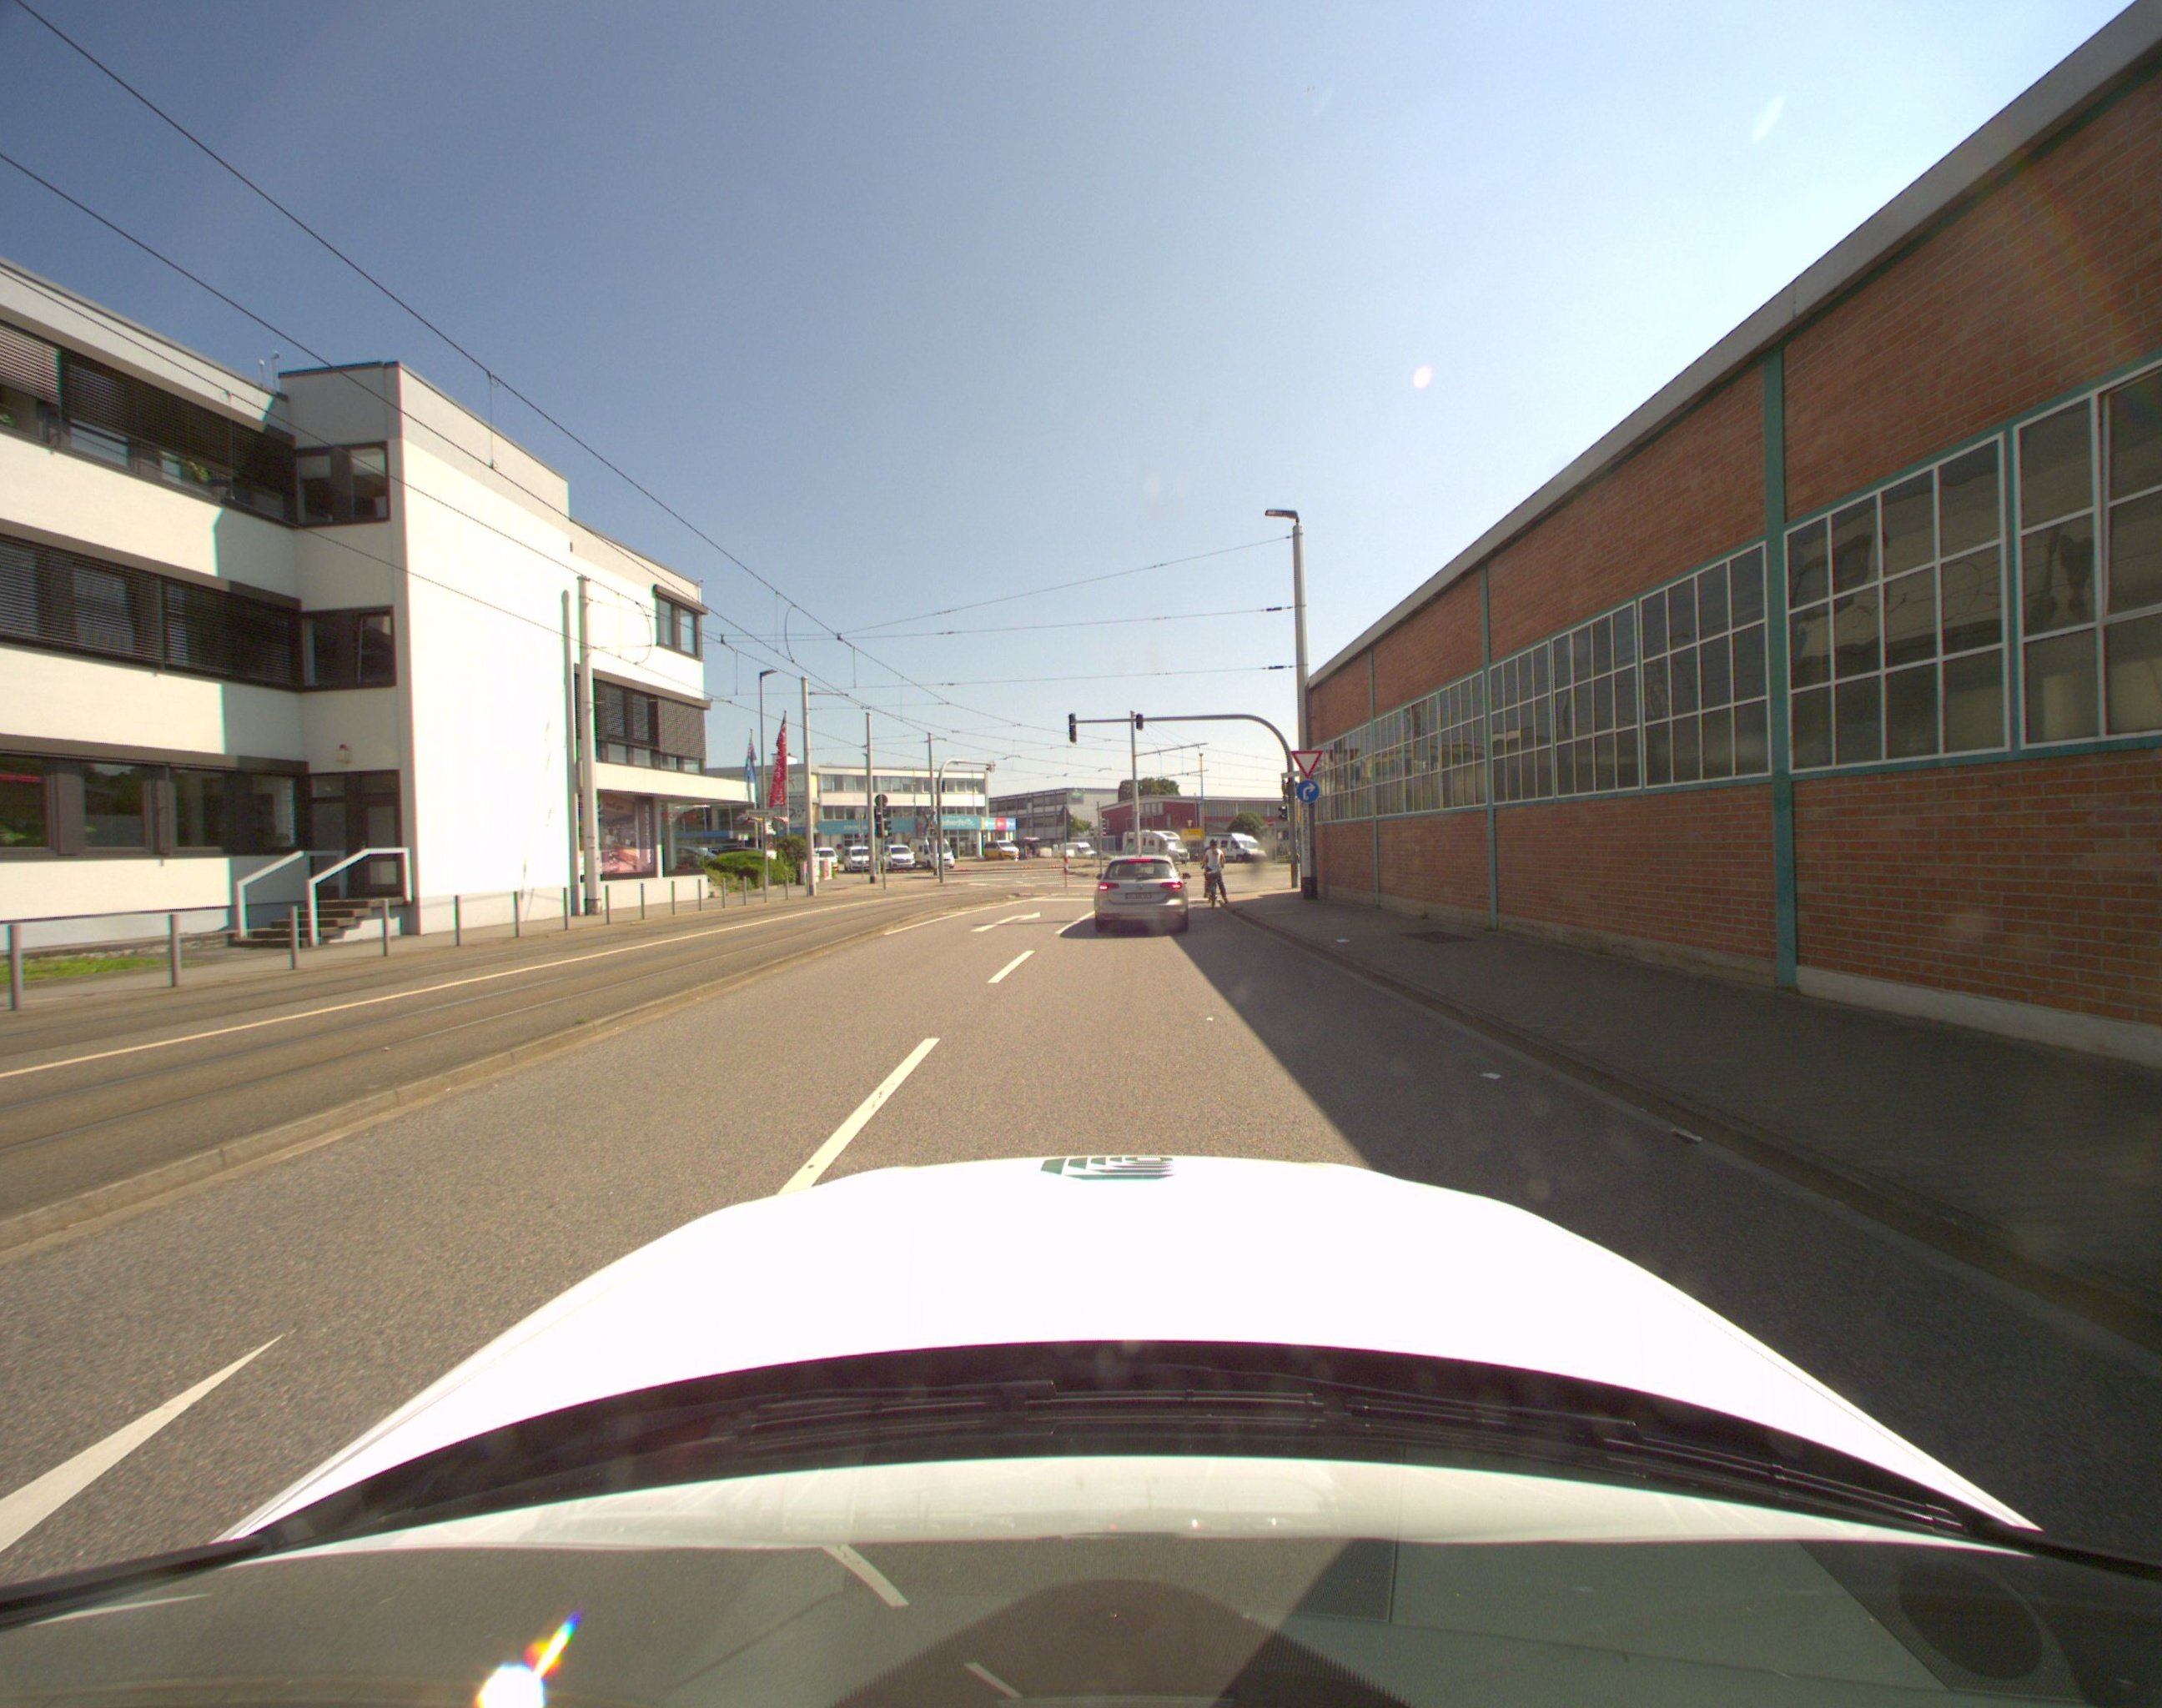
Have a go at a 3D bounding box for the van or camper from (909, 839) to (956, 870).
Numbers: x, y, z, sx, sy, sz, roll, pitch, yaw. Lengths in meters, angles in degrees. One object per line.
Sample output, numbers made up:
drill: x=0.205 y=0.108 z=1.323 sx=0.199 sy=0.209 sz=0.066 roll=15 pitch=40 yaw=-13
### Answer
van or camper: x=-12.218 y=-0.052 z=66.752 sx=2.043 sy=2.295 sz=5.760 roll=-3 pitch=3 yaw=-28

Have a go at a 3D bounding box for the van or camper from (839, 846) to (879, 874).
van or camper: x=-17.762 y=0.420 z=64.970 sx=2.005 sy=2.013 sz=4.719 roll=-3 pitch=3 yaw=-28

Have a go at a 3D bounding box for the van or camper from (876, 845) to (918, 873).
van or camper: x=-14.811 y=0.327 z=65.515 sx=2.005 sy=2.013 sz=4.965 roll=-3 pitch=3 yaw=-28

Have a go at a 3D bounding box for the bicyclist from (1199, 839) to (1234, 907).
bicyclist: x=3.495 y=0.480 z=21.140 sx=0.782 sy=1.721 sz=1.148 roll=-1 pitch=0 yaw=5

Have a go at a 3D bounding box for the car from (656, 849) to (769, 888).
car: x=-16.155 y=0.621 z=35.821 sx=3.968 sy=1.518 sz=2.003 roll=-1 pitch=2 yaw=4

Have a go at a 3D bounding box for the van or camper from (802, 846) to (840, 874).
van or camper: x=-20.813 y=0.410 z=65.080 sx=2.005 sy=2.013 sz=4.719 roll=-3 pitch=3 yaw=-28

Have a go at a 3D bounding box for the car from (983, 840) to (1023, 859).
car: x=-7.747 y=-0.428 z=80.377 sx=1.951 sy=1.759 sz=5.071 roll=-2 pitch=0 yaw=-31

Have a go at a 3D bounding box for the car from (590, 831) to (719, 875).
car: x=-16.700 y=-0.033 z=32.001 sx=3.968 sy=1.563 sz=2.003 roll=-1 pitch=0 yaw=4

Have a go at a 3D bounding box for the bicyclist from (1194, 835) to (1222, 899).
bicyclist: x=3.721 y=0.367 z=23.876 sx=0.704 sy=1.810 sz=0.984 roll=-1 pitch=0 yaw=4

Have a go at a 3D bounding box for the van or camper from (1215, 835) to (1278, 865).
van or camper: x=15.495 y=-0.472 z=76.383 sx=2.299 sy=2.611 sz=5.830 roll=-3 pitch=3 yaw=-34

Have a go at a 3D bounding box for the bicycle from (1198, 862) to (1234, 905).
bicycle: x=3.529 y=0.744 z=21.400 sx=0.790 sy=1.021 sz=2.154 roll=-1 pitch=0 yaw=6

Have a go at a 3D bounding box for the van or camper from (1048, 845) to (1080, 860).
van or camper: x=-2.268 y=-0.202 z=106.680 sx=2.012 sy=1.947 sz=3.950 roll=-1 pitch=0 yaw=-44

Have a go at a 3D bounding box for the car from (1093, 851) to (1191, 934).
car: x=1.274 y=0.685 z=16.769 sx=1.738 sy=1.459 sz=4.006 roll=-2 pitch=0 yaw=5

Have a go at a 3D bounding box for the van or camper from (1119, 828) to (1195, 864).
van or camper: x=6.598 y=-0.775 z=71.663 sx=2.366 sy=2.930 sz=6.905 roll=-3 pitch=3 yaw=-40

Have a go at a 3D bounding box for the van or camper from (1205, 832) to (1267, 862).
van or camper: x=13.693 y=-0.677 z=72.214 sx=2.299 sy=2.439 sz=5.330 roll=-3 pitch=4 yaw=-34
